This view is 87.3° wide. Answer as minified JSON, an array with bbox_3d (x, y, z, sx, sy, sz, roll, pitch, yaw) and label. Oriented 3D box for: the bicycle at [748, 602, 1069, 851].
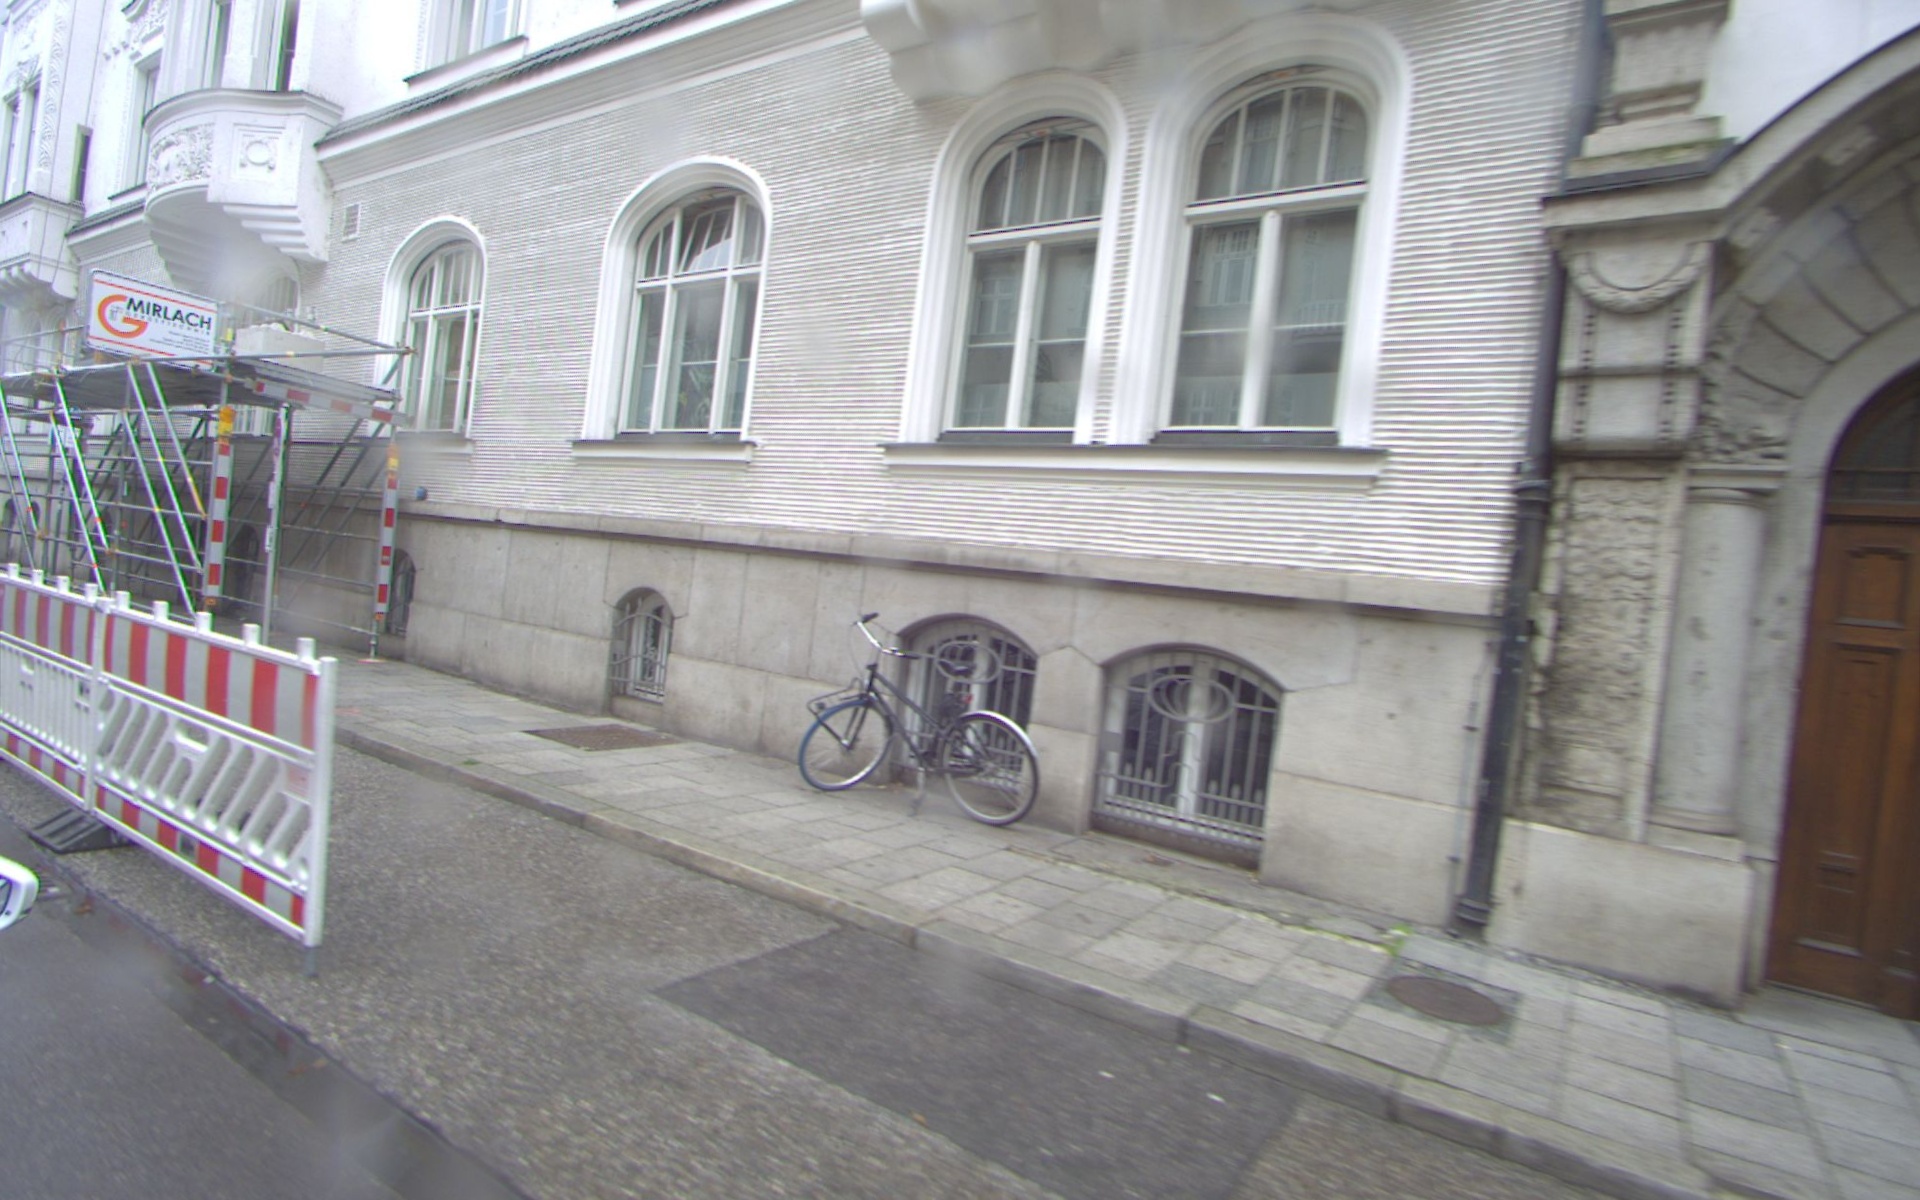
[{"bbox_3d":[-0.360,0.711,6.356,1.889,1.223,0.660,6,4,29],"label":"bicycle"}]
